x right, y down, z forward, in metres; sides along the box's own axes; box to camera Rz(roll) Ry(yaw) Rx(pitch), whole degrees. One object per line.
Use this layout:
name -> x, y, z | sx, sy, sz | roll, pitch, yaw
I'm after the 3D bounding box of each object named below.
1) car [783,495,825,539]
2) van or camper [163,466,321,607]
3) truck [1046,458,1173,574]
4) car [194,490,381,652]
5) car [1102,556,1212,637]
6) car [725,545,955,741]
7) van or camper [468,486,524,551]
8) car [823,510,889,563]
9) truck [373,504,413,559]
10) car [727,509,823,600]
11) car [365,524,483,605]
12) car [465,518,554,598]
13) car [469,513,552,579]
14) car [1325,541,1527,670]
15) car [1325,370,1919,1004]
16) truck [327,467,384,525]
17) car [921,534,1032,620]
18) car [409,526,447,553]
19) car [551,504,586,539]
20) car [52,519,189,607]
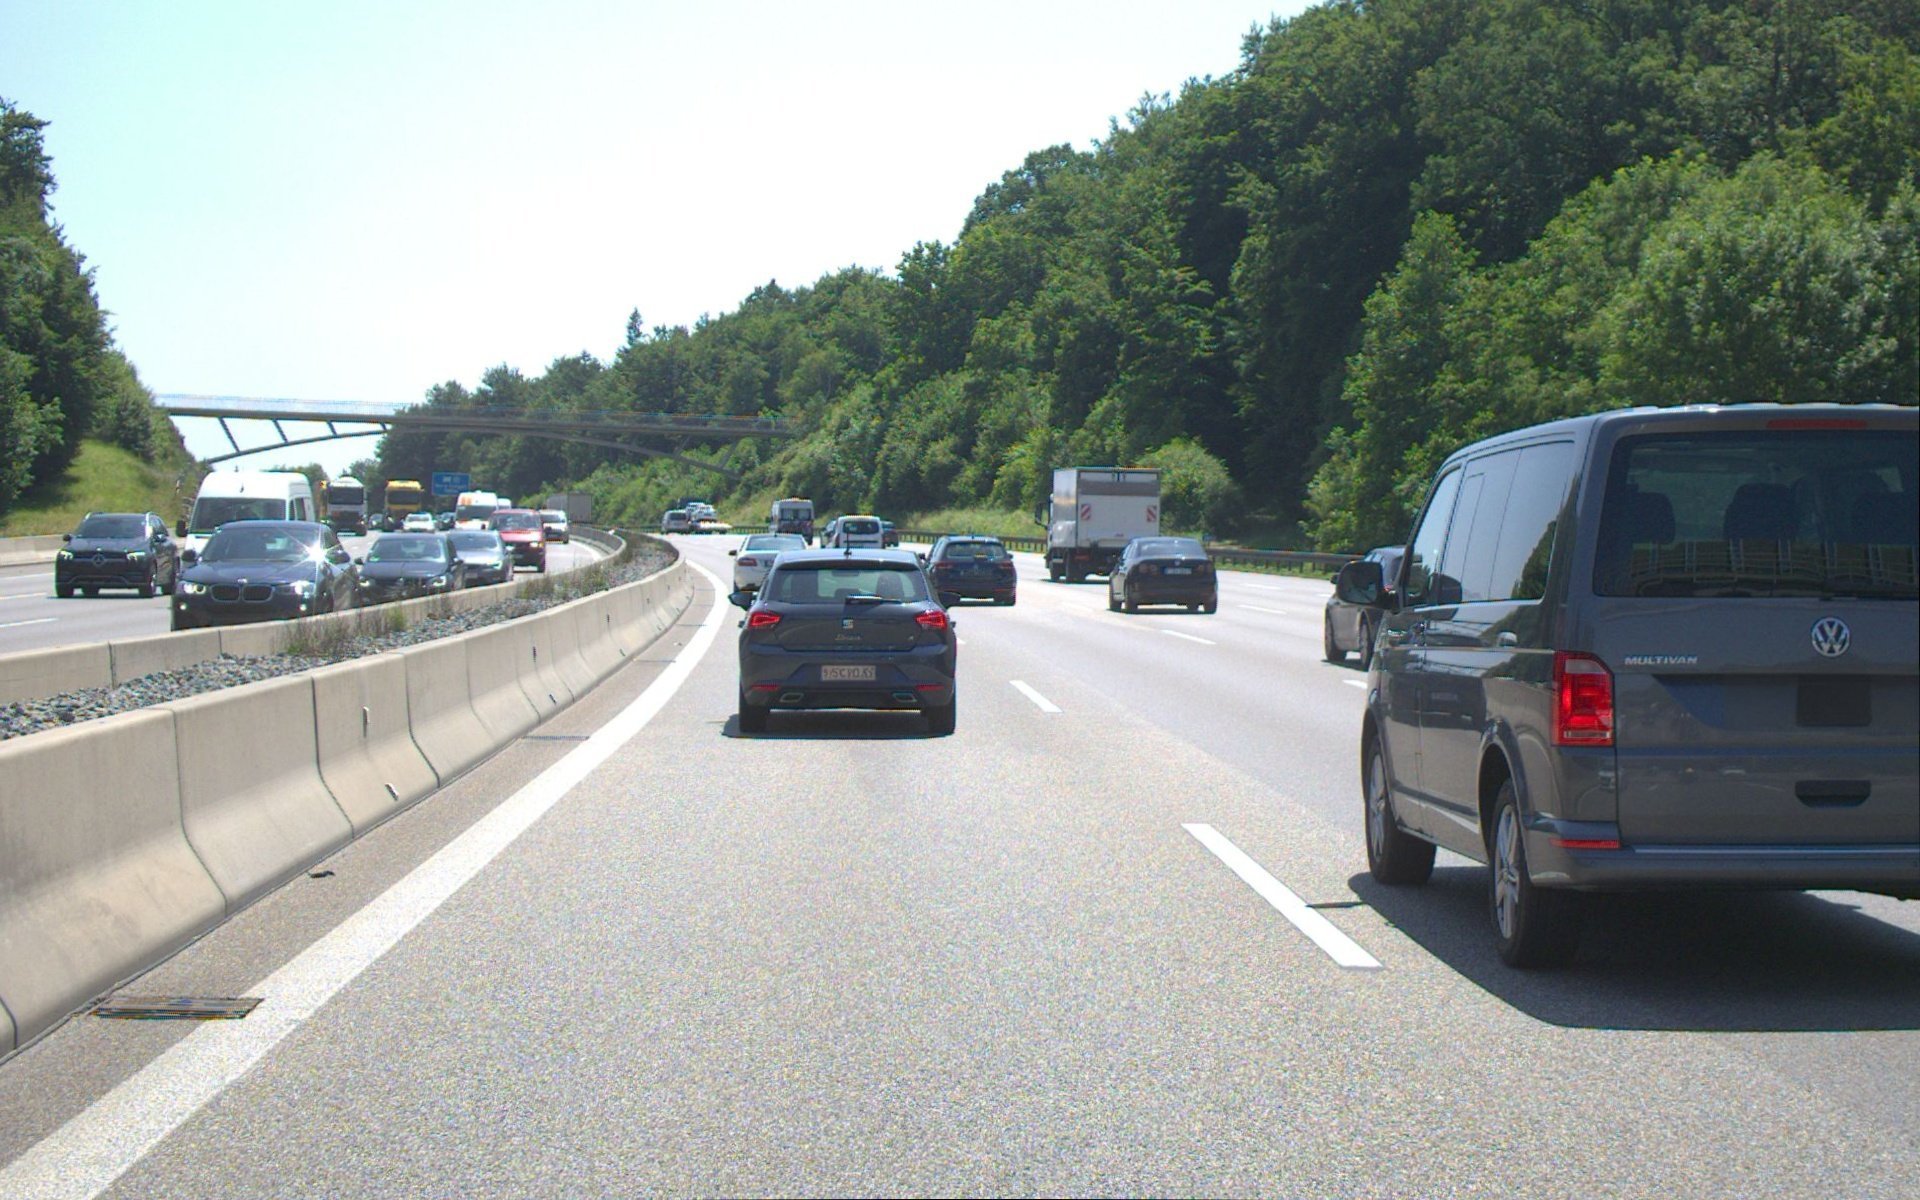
car -> -8.646, -4.574, 190.443 | 2.265, 2.363, 4.702 | 1, 1, -2
van or camper -> -13.792, -1.217, 66.375 | 2.099, 2.557, 6.401 | 1, 1, -4
truck -> 4.219, -2.408, 98.465 | 2.985, 3.156, 7.576 | 1, 2, -2
car -> -8.696, -0.345, 44.806 | 1.769, 1.938, 5.087 | 2, 0, -4
car -> 3.756, -0.098, 66.213 | 1.665, 1.403, 4.904 | 1, 2, -2
car -> -0.967, 0.293, 27.998 | 1.708, 1.428, 4.001 | 1, 1, -2
van or camper -> -20.420, -3.562, 151.466 | 1.993, 2.790, 7.416 | 1, 1, -4
car -> -3.591, -2.195, 117.842 | 2.103, 1.738, 4.688 | 1, 2, -3
truck -> -41.884, -5.057, 254.106 | 2.530, 3.926, 6.803 | 1, 1, -7
car -> -4.140, -0.989, 77.354 | 2.012, 1.839, 4.000 | 1, -2, -1
car -> -9.556, -0.641, 61.506 | 1.640, 1.345, 4.001 | 2, 1, -3
car -> -10.489, -0.952, 80.261 | 1.688, 1.719, 4.000 | 2, -1, -3
car -> -13.898, -1.666, 106.509 | 2.236, 2.007, 4.230 | 0, 1, -3
car -> 5.423, 0.025, 40.438 | 1.702, 1.391, 4.154 | 1, 1, -1
car -> 2.781, 0.245, 13.591 | 1.962, 2.026, 5.084 | 1, 1, -2
truck -> -37.723, -6.460, 214.871 | 2.609, 3.454, 9.884 | 2, 1, -5
car -> 0.316, -0.458, 71.782 | 1.993, 1.722, 4.149 | 1, 0, -4
car -> -30.787, -3.522, 199.047 | 1.763, 1.477, 4.495 | 2, 1, -4
car -> -21.328, -4.266, 187.405 | 1.818, 1.865, 4.590 | 0, 1, -6
car -> -17.682, -0.795, 72.623 | 1.993, 1.756, 5.070 | 1, 1, -4
